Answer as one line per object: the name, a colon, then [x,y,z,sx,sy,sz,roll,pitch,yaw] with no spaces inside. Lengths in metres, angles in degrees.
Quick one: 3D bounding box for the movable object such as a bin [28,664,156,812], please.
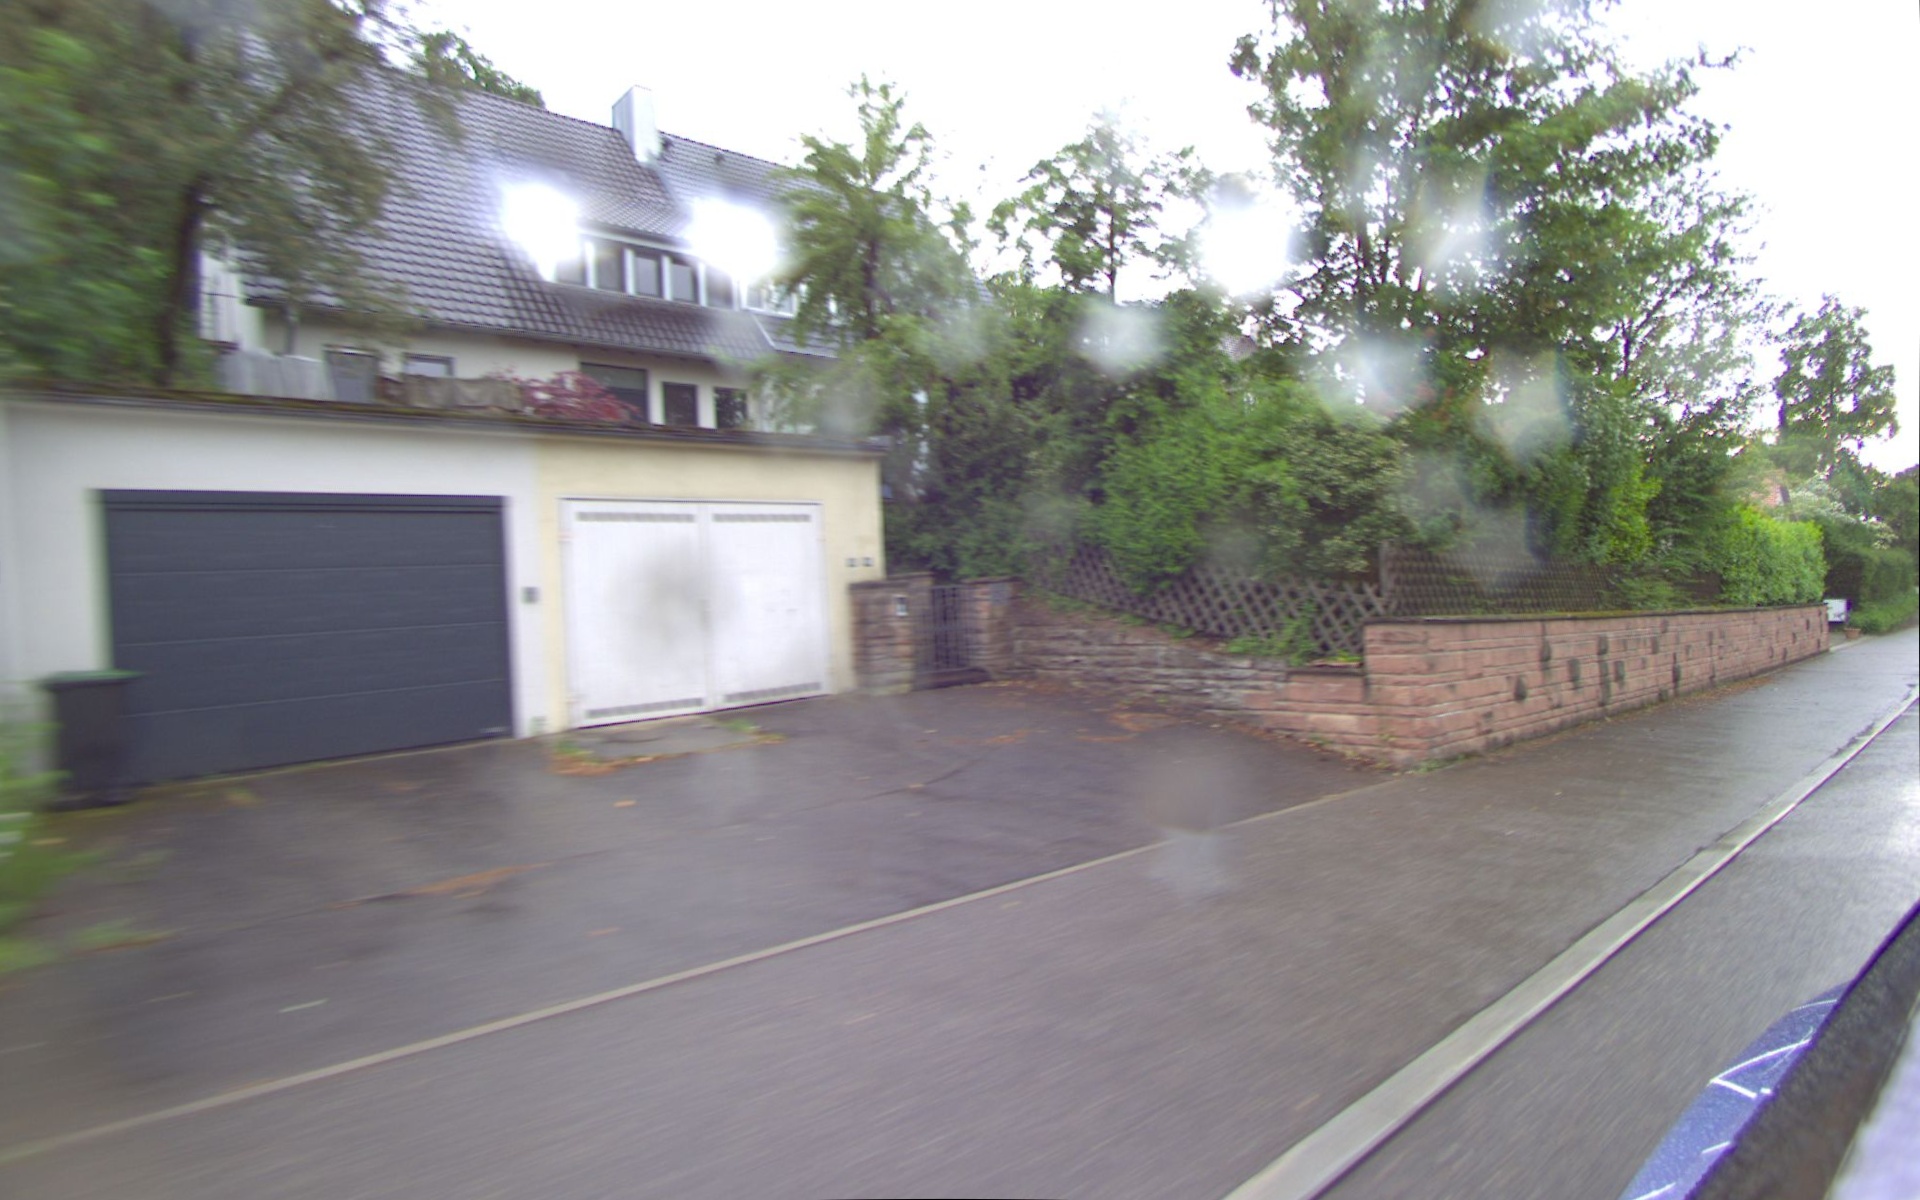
movable object such as a bin: [-6.051,0.931,7.053,0.640,0.903,0.635,0,0,-45]
